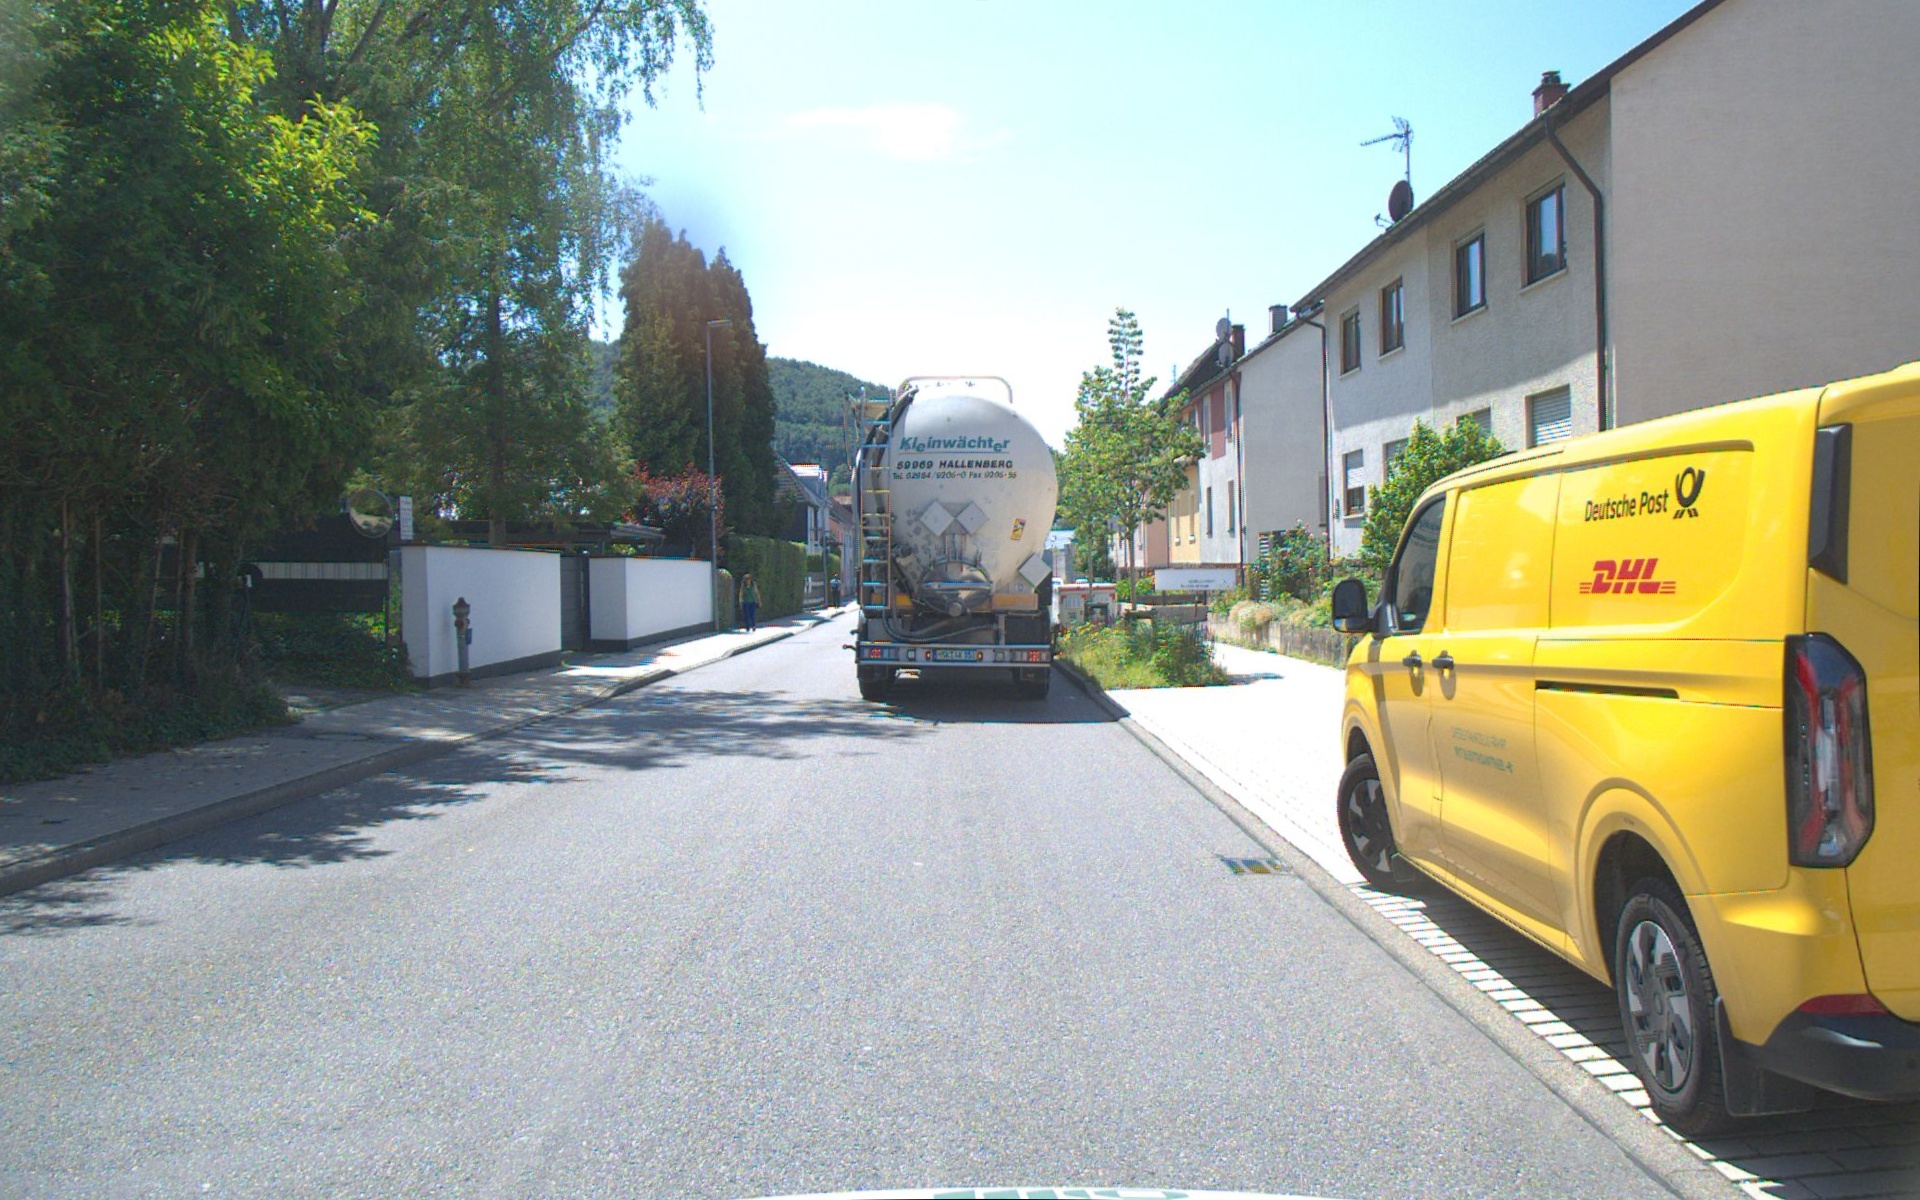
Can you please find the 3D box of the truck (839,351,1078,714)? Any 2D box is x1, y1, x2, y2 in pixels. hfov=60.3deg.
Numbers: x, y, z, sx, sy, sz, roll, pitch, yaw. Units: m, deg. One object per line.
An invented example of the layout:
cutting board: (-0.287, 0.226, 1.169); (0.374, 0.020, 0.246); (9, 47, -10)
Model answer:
truck: (-0.103, -0.844, 24.281); (2.694, 4.127, 10.887); (0, 1, -1)

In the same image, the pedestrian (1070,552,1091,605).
pedestrian: (4.672, -0.826, 64.124); (0.731, 2.049, 1.033); (0, 0, 1)

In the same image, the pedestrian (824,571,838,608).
pedestrian: (-6.641, -0.542, 85.240); (0.698, 1.855, 0.898); (0, 0, -4)

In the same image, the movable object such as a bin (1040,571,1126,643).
movable object such as a bin: (2.645, 0.150, 36.062); (1.540, 1.441, 3.041); (-2, 0, -1)

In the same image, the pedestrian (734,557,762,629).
pedestrian: (-6.091, -0.211, 47.581); (0.706, 2.049, 0.804); (0, -1, -1)

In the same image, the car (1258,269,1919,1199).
car: (2.877, 0.247, 6.352); (2.146, 2.048, 5.621); (-5, 0, -2)

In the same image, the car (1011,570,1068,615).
car: (2.822, -0.255, 59.465); (1.721, 1.442, 4.632); (-3, -1, -1)

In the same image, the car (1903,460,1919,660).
car: (10.178, -0.480, 13.441); (3.908, 1.705, 1.873); (-4, 1, -3)

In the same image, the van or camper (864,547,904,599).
van or camper: (-4.146, -1.434, 90.627); (1.996, 2.761, 5.823); (0, 0, -1)
